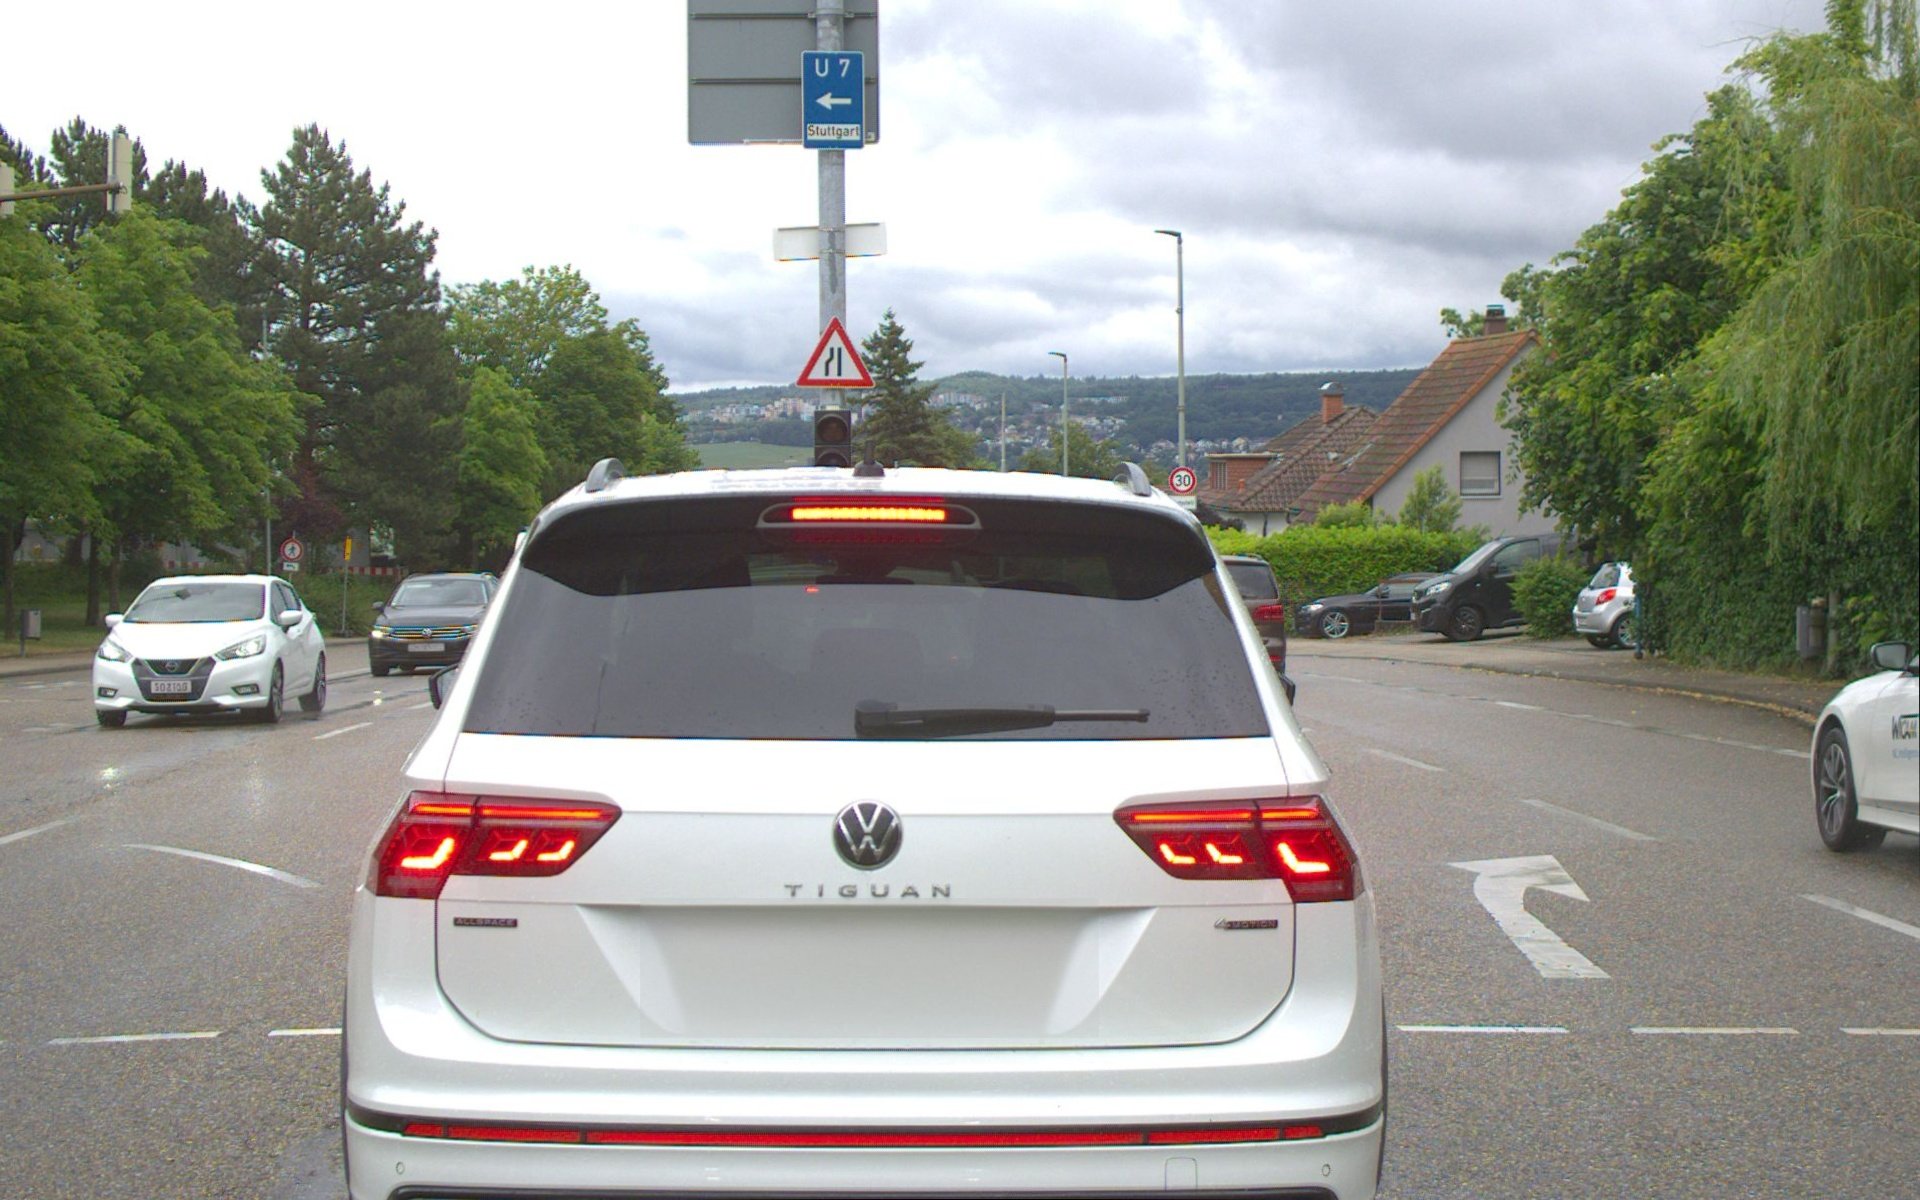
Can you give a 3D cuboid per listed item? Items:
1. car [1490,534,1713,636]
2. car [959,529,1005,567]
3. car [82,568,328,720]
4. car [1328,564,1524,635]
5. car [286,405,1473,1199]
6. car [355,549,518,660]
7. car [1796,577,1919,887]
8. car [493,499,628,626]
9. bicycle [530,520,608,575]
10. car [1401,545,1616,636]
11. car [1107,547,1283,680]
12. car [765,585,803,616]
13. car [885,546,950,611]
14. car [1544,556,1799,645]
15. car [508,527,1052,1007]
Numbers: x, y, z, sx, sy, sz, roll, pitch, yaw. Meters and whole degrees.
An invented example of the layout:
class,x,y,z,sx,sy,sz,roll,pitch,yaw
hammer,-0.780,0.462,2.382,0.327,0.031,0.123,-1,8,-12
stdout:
class,x,y,z,sx,sy,sz,roll,pitch,yaw
car,11.526,-0.283,61.917,3.627,1.740,1.708,0,3,-4
car,0.919,-2.195,145.631,1.850,1.569,4.000,-1,1,0
car,-7.464,0.396,34.299,1.746,1.392,3.802,0,1,-2
car,9.327,0.002,69.011,3.687,1.365,1.519,1,-1,-2
car,-0.182,0.543,7.357,1.763,1.690,4.273,2,1,-1
car,-7.663,0.035,50.656,1.775,1.497,4.472,-2,1,-2
car,5.324,0.650,15.960,1.664,1.422,4.306,1,1,-2
car,-8.297,-0.818,71.918,2.297,2.519,5.774,-1,1,-2
bicycle,-8.531,-1.150,75.034,1.636,1.122,0.468,-2,2,-2
car,10.224,-0.190,64.246,3.627,1.620,1.792,0,2,-4
car,2.933,0.135,43.646,1.735,1.569,4.069,1,1,-3
car,-10.208,0.005,199.207,1.993,1.722,4.000,2,0,-1
car,-1.206,-0.624,96.190,1.712,1.752,3.802,0,1,-2
car,11.655,0.006,56.411,3.713,1.390,1.729,-1,0,-7
car,-0.628,0.527,13.420,1.798,1.584,3.926,1,1,-1
